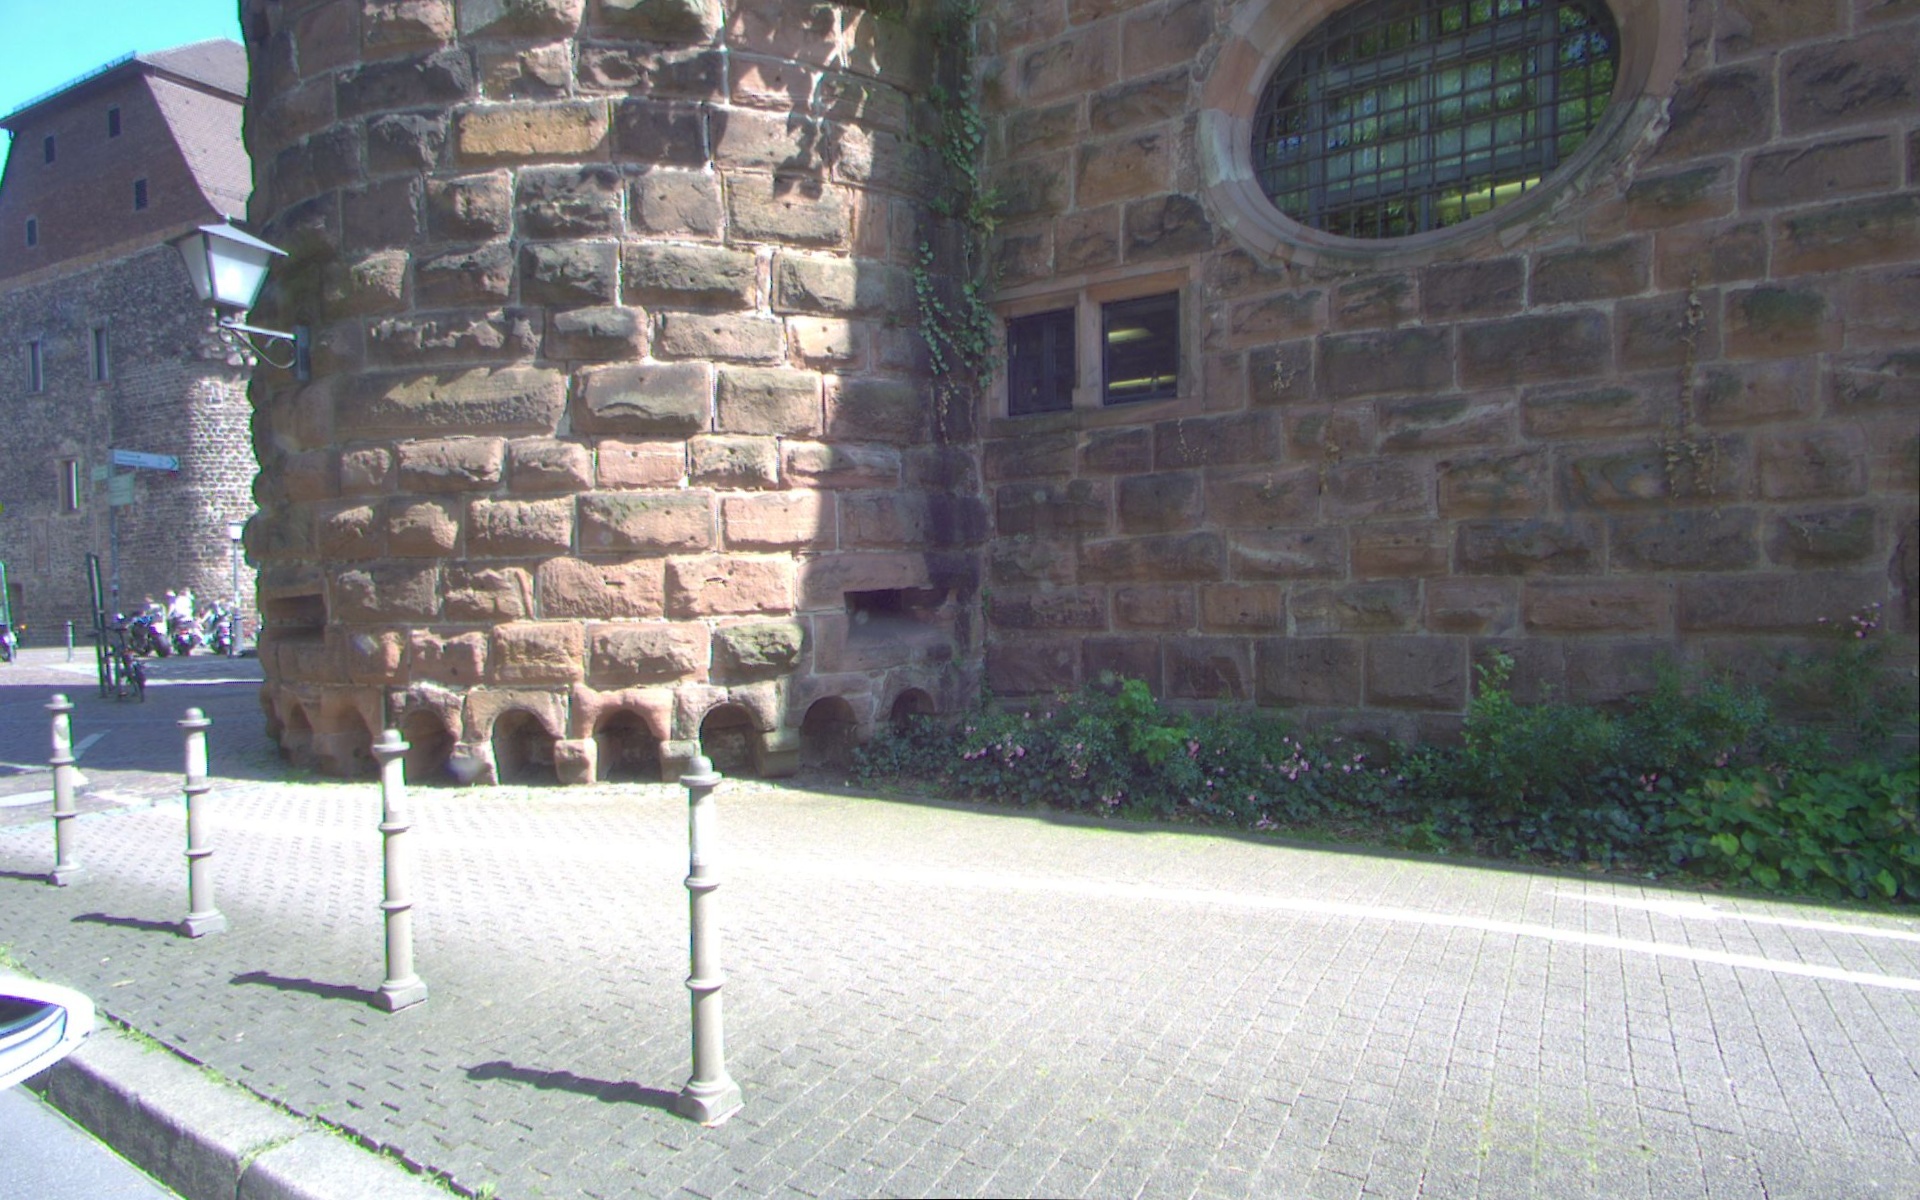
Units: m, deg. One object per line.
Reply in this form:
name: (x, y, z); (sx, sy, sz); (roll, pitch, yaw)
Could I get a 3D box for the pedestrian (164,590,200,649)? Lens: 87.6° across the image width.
pedestrian: (-25.553, 0.652, 32.880); (0.809, 1.908, 0.667); (-1, -1, 31)

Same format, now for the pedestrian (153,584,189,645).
pedestrian: (-26.877, 0.512, 34.109); (0.865, 2.039, 0.729); (-1, -1, 32)

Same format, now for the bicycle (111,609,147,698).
bicycle: (-12.074, 0.752, 14.532); (1.750, 1.220, 0.192); (0, 1, 44)

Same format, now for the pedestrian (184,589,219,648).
pedestrian: (-25.543, 0.630, 33.729); (0.809, 1.944, 0.667); (-1, -1, 31)

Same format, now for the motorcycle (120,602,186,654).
motorcycle: (-20.545, 0.715, 25.475); (2.169, 1.282, 0.654); (-1, -1, 32)

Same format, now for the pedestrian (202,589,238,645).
pedestrian: (-22.597, 0.520, 30.600); (0.799, 1.684, 0.652); (-1, 1, -34)

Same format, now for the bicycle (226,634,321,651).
bicycle: (-17.575, 1.084, 25.655); (1.916, 0.386, 0.909); (0, -2, -44)

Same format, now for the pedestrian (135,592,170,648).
pedestrian: (-26.894, 0.661, 33.347); (0.835, 1.826, 0.651); (0, 0, 31)

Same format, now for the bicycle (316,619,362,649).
bicycle: (-18.374, 0.996, 29.609); (1.898, 0.831, 0.353); (0, -1, 32)

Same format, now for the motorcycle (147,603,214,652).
motorcycle: (-20.756, 0.740, 26.640); (2.280, 1.251, 0.674); (-1, -2, 32)

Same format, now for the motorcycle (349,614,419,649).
motorcycle: (-18.053, 0.999, 31.405); (0.474, 1.067, 1.858); (-1, -2, 40)

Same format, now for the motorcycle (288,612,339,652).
motorcycle: (-18.145, 0.898, 28.091); (1.814, 1.087, 0.506); (-1, -2, 32)

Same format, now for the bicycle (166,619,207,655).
bicycle: (-26.801, 1.288, 34.681); (1.690, 1.225, 0.388); (-1, -1, 24)

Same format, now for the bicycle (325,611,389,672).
bicycle: (-12.001, 0.804, 19.903); (1.707, 1.178, 0.445); (0, 1, 36)

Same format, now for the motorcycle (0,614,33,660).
motorcycle: (-22.165, 0.831, 23.038); (2.453, 1.026, 0.565); (0, 1, 32)

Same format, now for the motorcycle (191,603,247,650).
motorcycle: (-20.268, 0.731, 27.389); (2.002, 1.251, 0.545); (-1, -2, 32)
